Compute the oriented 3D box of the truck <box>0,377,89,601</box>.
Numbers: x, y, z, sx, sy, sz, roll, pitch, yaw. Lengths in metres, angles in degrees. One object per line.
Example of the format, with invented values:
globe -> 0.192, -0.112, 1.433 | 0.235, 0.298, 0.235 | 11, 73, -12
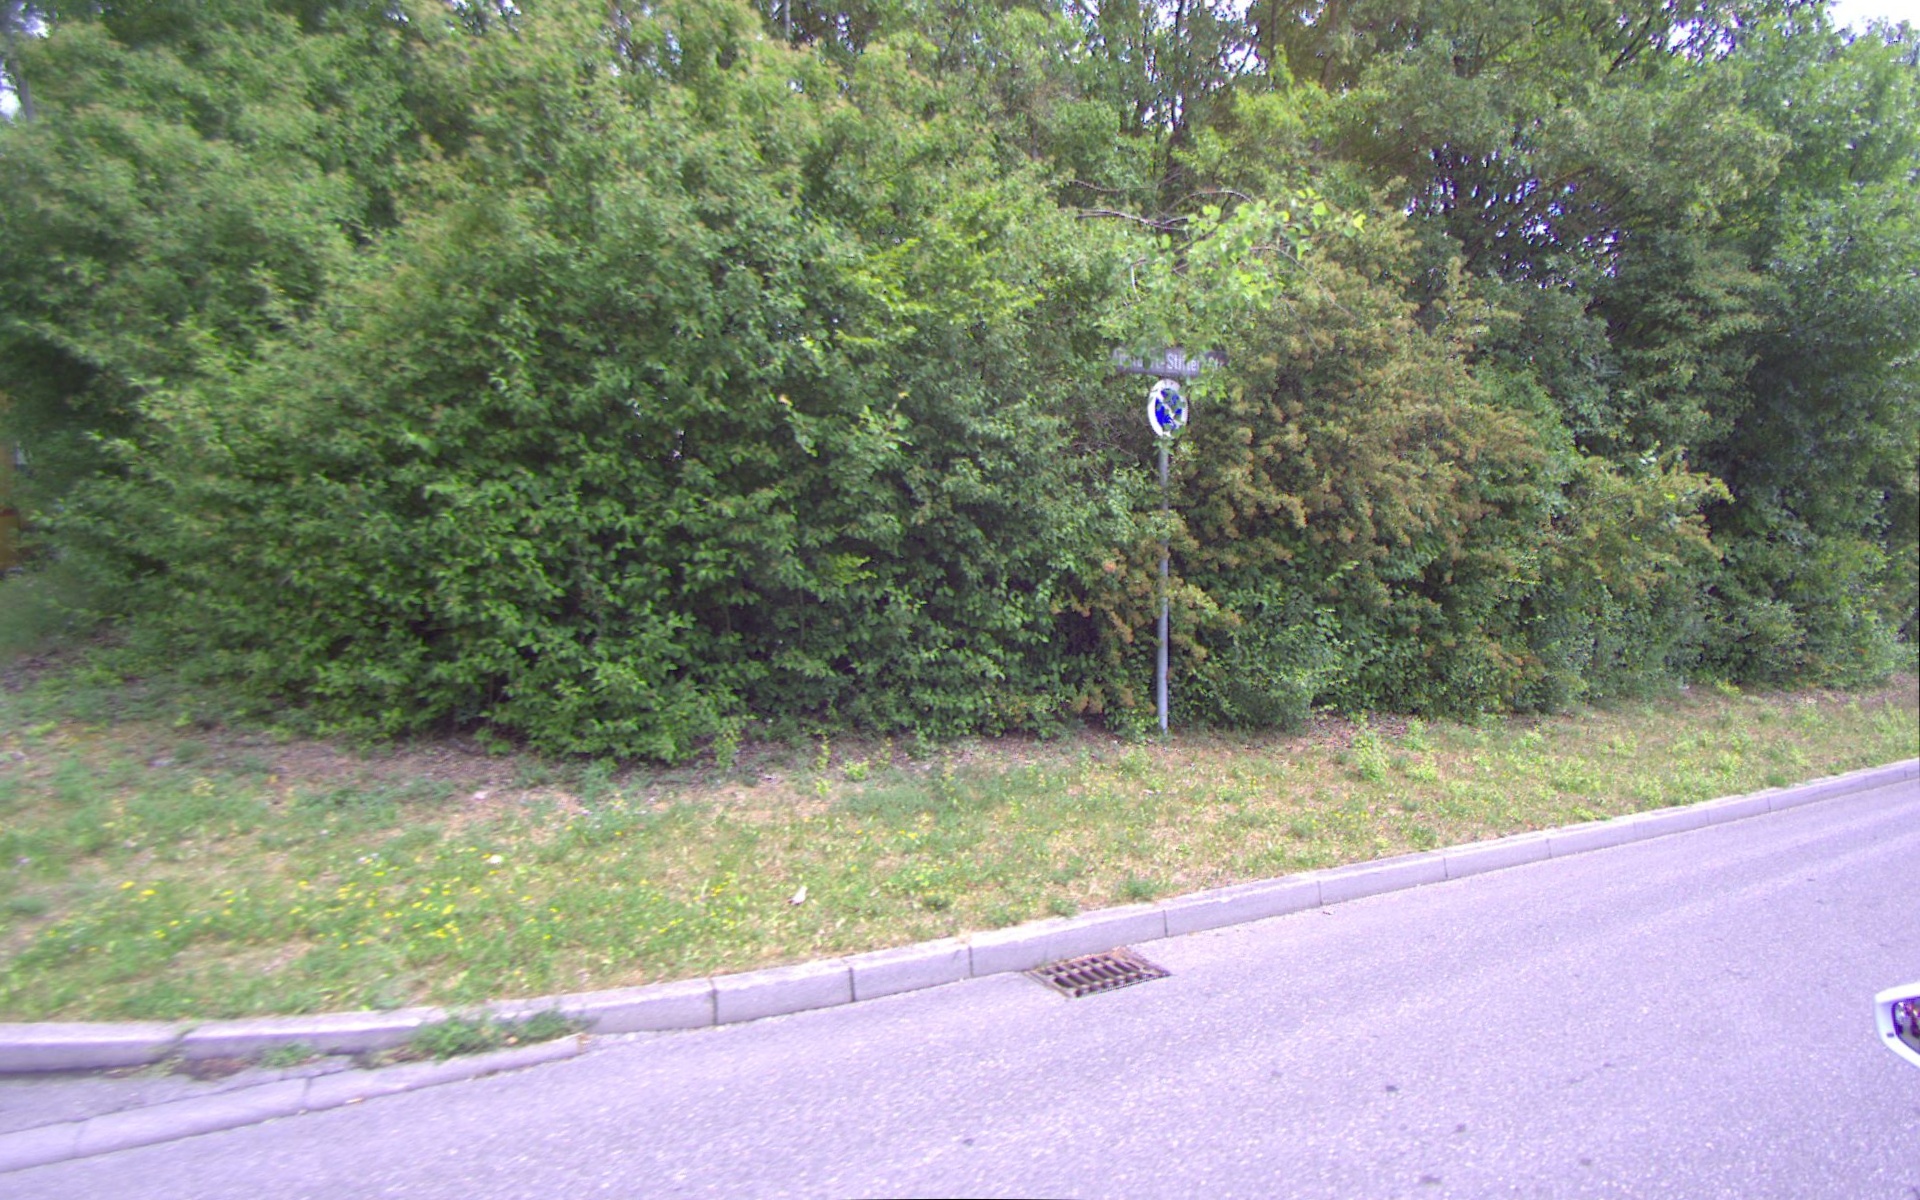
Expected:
truck -> -13.224, -1.422, 12.296 | 2.203, 2.847, 6.526 | 1, 6, -26
